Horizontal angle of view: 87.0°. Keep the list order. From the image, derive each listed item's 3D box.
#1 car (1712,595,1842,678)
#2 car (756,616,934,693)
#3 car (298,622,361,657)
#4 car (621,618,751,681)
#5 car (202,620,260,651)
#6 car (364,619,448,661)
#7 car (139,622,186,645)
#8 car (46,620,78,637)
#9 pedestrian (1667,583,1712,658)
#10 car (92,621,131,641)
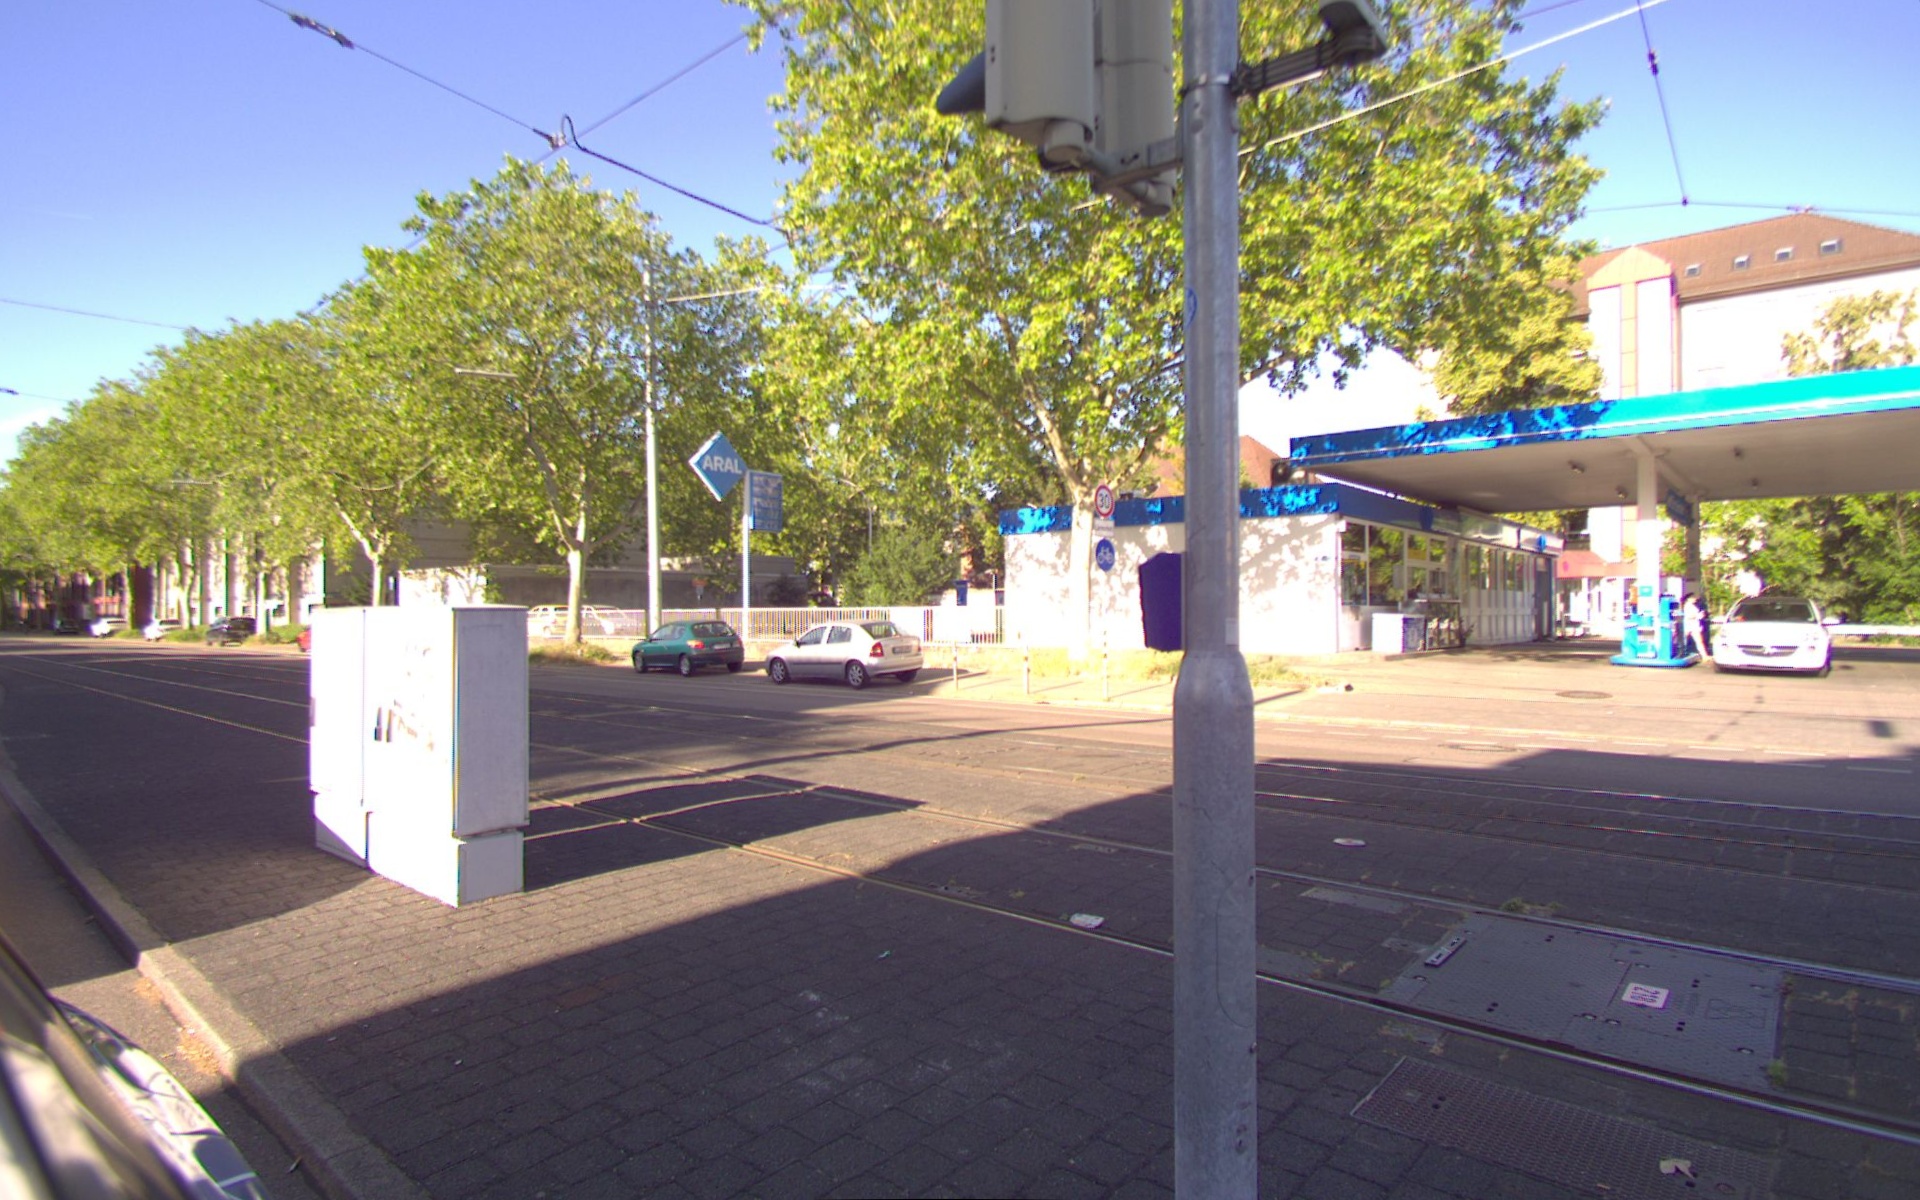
[{"bbox_3d":[16.026,0.675,19.899,1.812,1.453,3.947,-1,-1,39],"label":"car"},{"bbox_3d":[-2.631,1.156,22.653,3.965,1.475,1.771,-1,2,43],"label":"car"},{"bbox_3d":[-28.557,1.746,45.788,3.045,1.519,1.620,-1,-1,41],"label":"car"},{"bbox_3d":[-7.329,1.273,26.922,3.519,1.475,1.670,-1,2,43],"label":"car"},{"bbox_3d":[-40.756,1.947,56.579,3.998,1.674,1.779,-1,-1,41],"label":"car"},{"bbox_3d":[-21.943,1.546,40.041,3.652,1.541,1.802,-1,-1,41],"label":"car"},{"bbox_3d":[-53.723,2.258,68.152,3.998,1.509,1.779,-1,-1,41],"label":"car"},{"bbox_3d":[-85.327,2.722,96.105,3.998,1.525,1.779,-1,-1,41],"label":"car"},{"bbox_3d":[16.959,0.467,23.536,0.761,1.705,0.578,-2,-2,44],"label":"pedestrian"},{"bbox_3d":[-66.687,2.393,79.517,3.998,1.525,1.779,-1,-1,41],"label":"car"}]
